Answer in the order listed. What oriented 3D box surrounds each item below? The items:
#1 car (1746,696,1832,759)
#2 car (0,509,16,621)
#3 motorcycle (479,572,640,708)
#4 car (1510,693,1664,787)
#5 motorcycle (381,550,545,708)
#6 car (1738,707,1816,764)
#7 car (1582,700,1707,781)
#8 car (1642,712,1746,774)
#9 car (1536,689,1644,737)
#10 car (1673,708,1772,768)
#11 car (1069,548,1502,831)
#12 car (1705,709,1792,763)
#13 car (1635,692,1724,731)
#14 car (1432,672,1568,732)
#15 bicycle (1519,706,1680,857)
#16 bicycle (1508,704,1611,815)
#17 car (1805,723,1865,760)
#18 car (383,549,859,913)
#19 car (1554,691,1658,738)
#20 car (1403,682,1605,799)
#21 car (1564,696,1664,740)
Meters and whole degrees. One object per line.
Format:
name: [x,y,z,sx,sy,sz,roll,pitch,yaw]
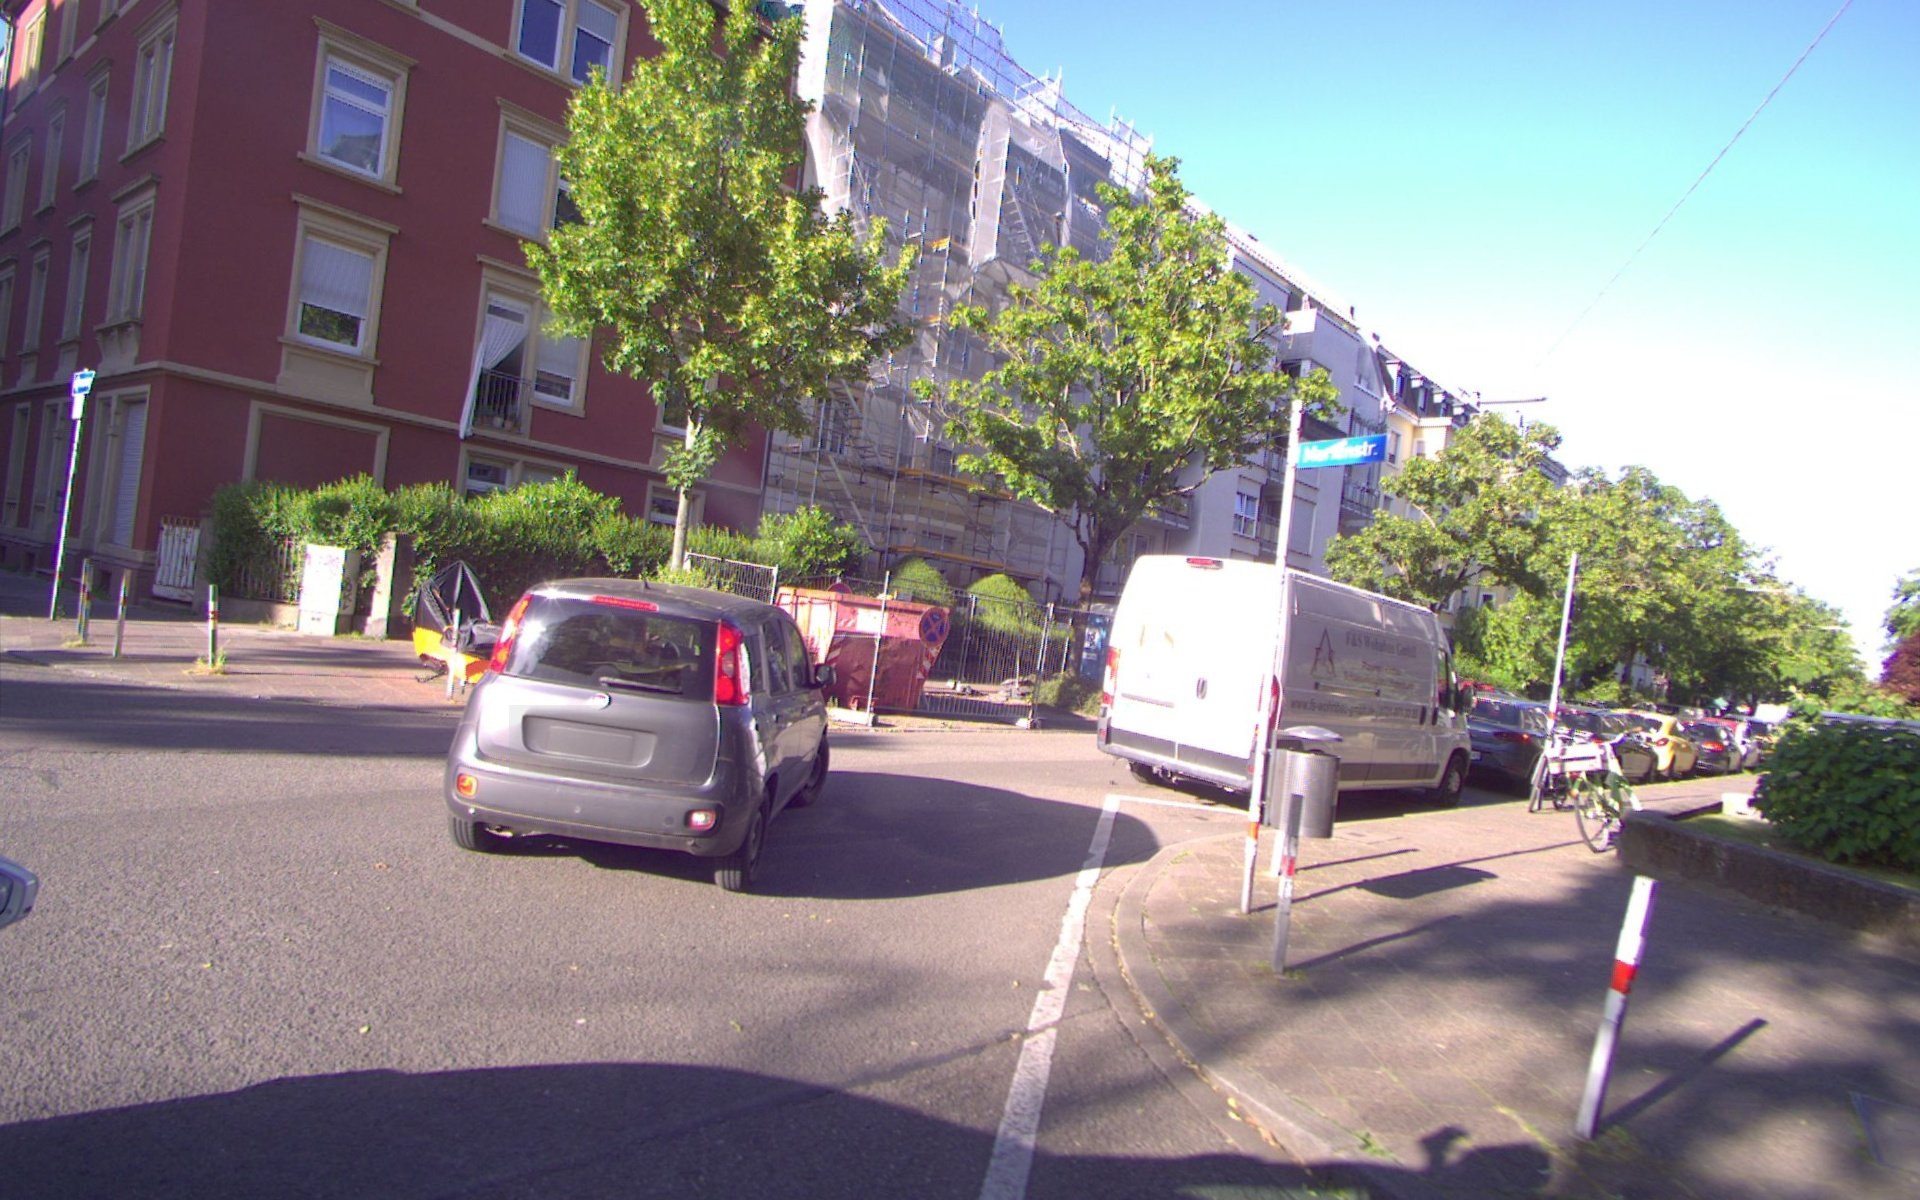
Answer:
car: [35.094,5.387,42.530,5.307,2.221,2.112,8,-1,-45]
car: [-14.759,-0.691,13.978,3.649,1.501,1.669,6,-1,36]
motorcycle: [-5.101,0.467,12.697,0.866,1.421,2.511,6,0,-44]
car: [12.511,2.742,19.965,1.766,1.440,4.199,6,-2,43]
motorcycle: [-5.951,0.292,11.939,0.869,1.544,2.589,6,1,-44]
car: [31.159,5.151,38.329,4.122,1.788,1.781,8,-1,-45]
car: [16.240,3.288,23.788,1.766,1.526,4.199,6,-2,43]
car: [20.192,3.887,27.599,1.766,1.315,4.199,6,-2,43]
car: [29.775,5.326,47.602,3.946,1.683,1.718,6,-1,43]
car: [24.040,4.348,31.662,4.194,1.526,1.767,8,-2,-44]
car: [4.073,1.036,11.838,5.630,2.497,2.277,7,-1,-44]
car: [27.297,4.690,34.769,4.195,1.526,1.767,8,-2,-45]
car: [41.764,6.457,58.454,3.945,1.683,1.719,6,-1,42]
car: [20.759,3.914,38.769,4.127,1.665,1.992,5,-3,43]
bicycle: [6.368,1.782,9.981,1.854,1.306,0.632,7,-1,-37]
bicycle: [7.819,2.067,13.089,1.856,1.306,0.468,7,-1,-40]
car: [43.794,7.051,50.301,3.974,1.501,1.782,7,-1,-43]
car: [-1.764,0.658,6.459,1.609,1.500,3.534,7,-1,2]
car: [31.658,5.595,49.343,3.946,1.683,1.718,6,-1,43]
car: [8.946,2.255,16.401,1.767,1.456,3.978,6,-2,45]
car: [33.593,6.035,51.712,3.946,1.683,1.718,6,-1,43]
